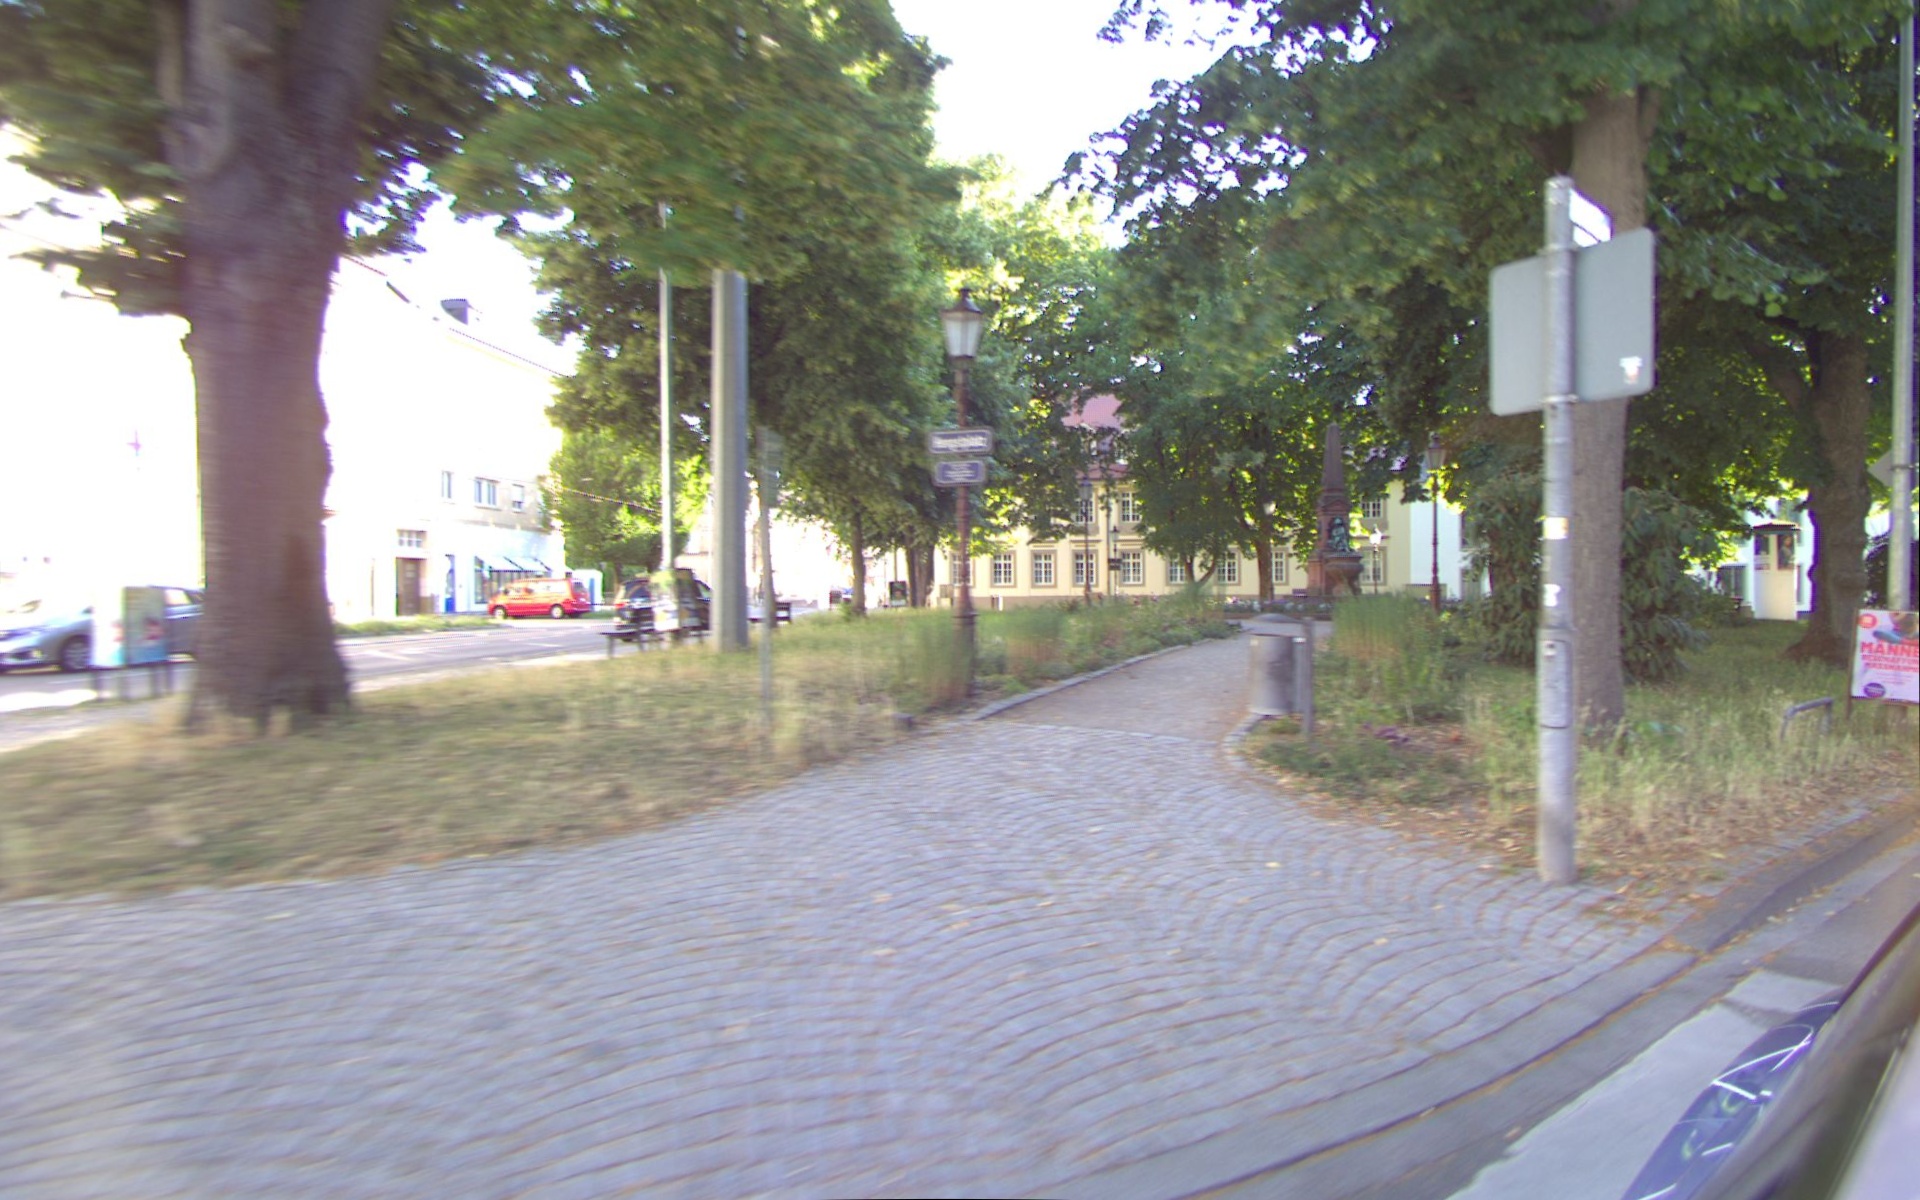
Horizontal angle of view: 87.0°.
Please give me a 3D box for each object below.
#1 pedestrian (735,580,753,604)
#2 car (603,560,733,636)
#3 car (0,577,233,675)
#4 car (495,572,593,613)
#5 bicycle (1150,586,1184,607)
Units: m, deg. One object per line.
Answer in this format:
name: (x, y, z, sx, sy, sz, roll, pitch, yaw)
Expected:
pedestrian: (-18.592, -0.676, 87.006, 1.329, 2.039, 1.159, 0, 1, -2)
car: (-7.690, -0.097, 27.067, 1.965, 1.816, 3.994, -2, 1, 6)
car: (-15.491, 0.402, 18.065, 1.964, 1.538, 4.067, 0, 0, 4)
car: (-20.265, -0.364, 49.382, 3.999, 1.945, 1.998, 0, 0, 4)
bicycle: (10.949, -0.189, 53.599, 1.736, 1.045, 0.720, 0, 1, 11)
